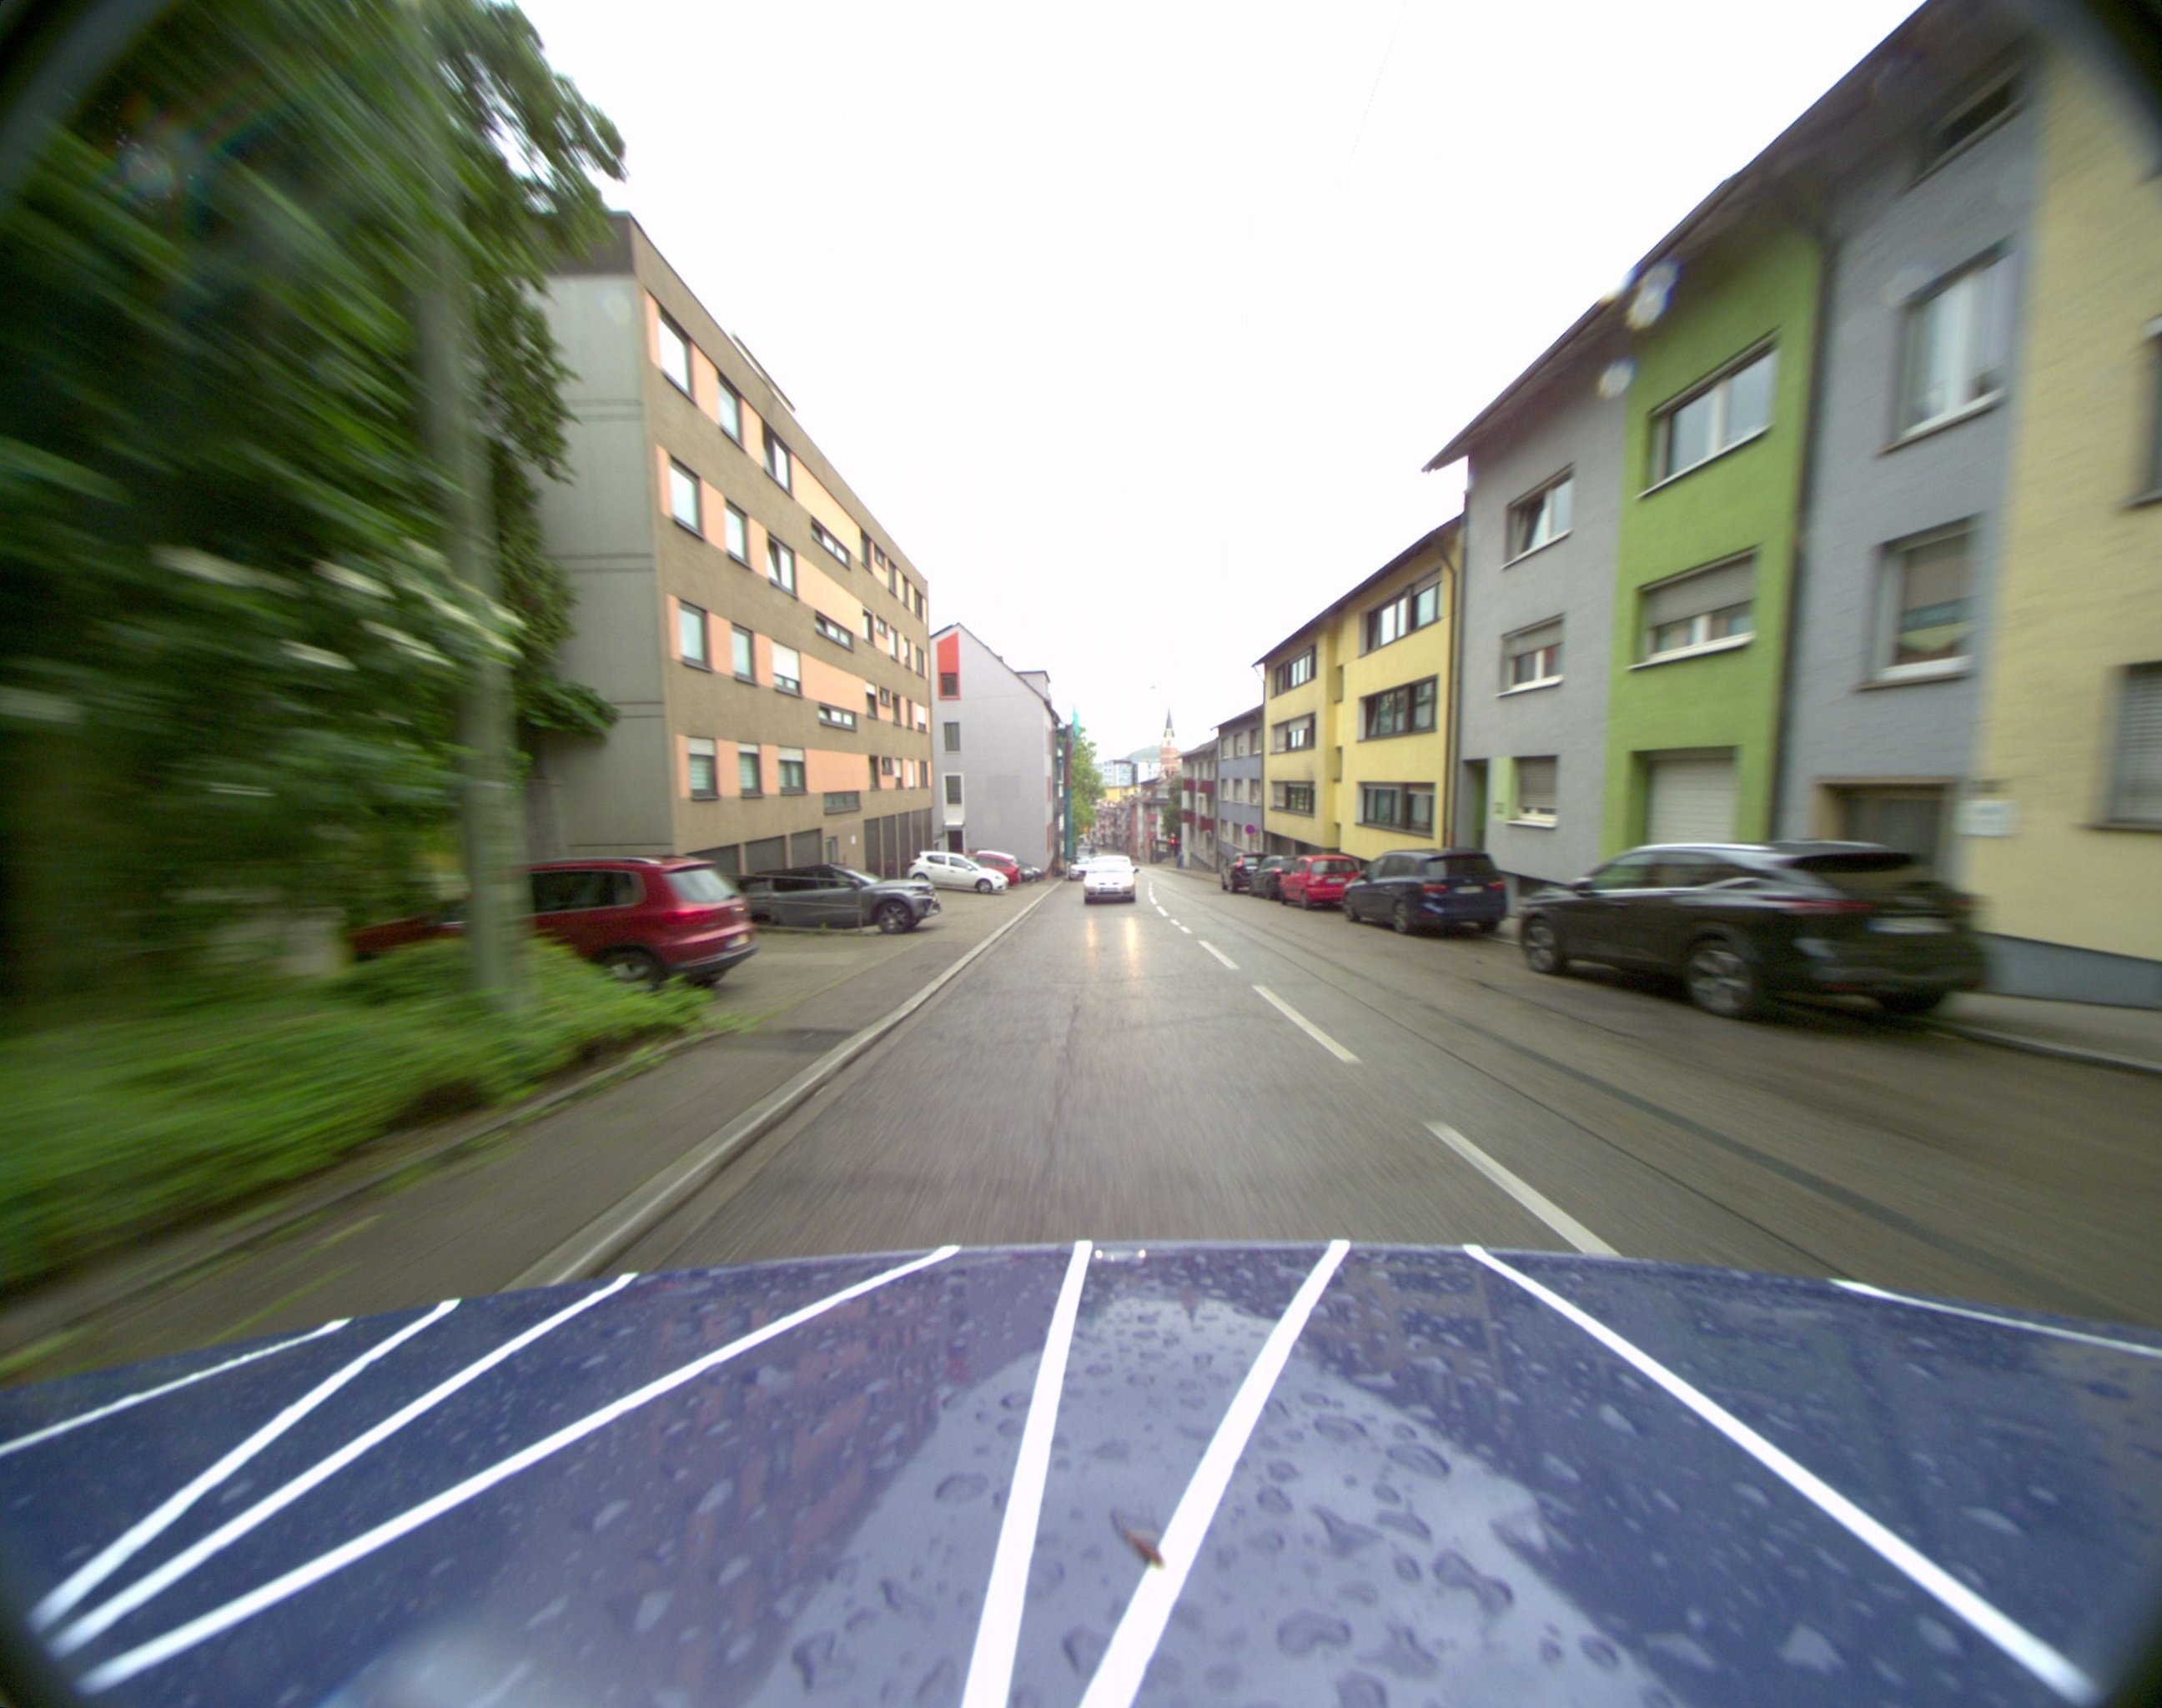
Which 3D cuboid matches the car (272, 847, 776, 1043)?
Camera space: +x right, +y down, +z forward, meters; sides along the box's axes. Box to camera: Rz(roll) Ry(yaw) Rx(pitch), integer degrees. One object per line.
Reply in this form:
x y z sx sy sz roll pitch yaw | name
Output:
-5.951 0.906 8.567 4.209 1.724 1.759 -3 1 -3 | car

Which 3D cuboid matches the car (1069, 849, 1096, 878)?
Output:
0.099 0.618 49.616 1.644 1.752 4.000 -2 0 0 | car

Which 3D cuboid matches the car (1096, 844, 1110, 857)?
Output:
2.859 -0.420 96.552 1.637 1.521 4.000 -2 0 3 | car

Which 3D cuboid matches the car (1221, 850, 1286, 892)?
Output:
7.216 0.681 32.194 1.998 1.640 4.442 -1 0 3 | car

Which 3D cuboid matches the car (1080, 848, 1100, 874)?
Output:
1.003 0.690 81.115 1.998 2.400 5.834 -2 2 1 | car

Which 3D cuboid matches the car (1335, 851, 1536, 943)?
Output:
6.914 0.752 15.449 1.998 1.576 4.471 -1 0 0 | car

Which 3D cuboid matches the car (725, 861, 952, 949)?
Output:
-5.036 1.035 16.208 4.209 1.487 1.760 -3 1 -1 | car

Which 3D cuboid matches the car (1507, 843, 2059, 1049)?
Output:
6.641 0.712 8.032 1.858 1.576 4.305 -1 0 0 | car

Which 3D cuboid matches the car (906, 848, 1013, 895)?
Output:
-4.855 0.683 30.752 3.972 1.521 1.692 5 0 -3 | car

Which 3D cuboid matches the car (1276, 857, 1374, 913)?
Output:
6.976 0.840 22.094 1.733 1.463 3.491 -1 0 0 | car

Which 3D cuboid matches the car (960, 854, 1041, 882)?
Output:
-4.412 0.775 41.969 4.279 1.458 1.893 0 0 0 | car

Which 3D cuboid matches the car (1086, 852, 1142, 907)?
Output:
1.060 0.794 26.012 1.720 1.528 3.998 -2 2 0 | car

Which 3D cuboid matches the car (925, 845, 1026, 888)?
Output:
-4.878 0.568 35.724 4.352 1.521 1.876 6 0 0 | car

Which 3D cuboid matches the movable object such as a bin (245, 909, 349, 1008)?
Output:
-9.222 1.216 8.956 0.508 1.055 0.603 -2 3 1 | movable object such as a bin

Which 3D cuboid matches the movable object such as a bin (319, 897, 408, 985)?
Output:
-9.456 1.130 10.038 0.508 1.055 0.603 -2 3 1 | movable object such as a bin

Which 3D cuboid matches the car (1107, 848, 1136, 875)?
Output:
2.615 0.460 49.881 1.720 1.528 3.998 -2 2 1 | car

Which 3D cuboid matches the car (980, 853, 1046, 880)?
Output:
-4.010 0.746 45.339 3.812 1.541 1.660 0 0 0 | car

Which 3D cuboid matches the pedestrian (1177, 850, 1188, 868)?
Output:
9.576 0.477 71.787 0.871 1.531 1.088 -2 -4 0 | pedestrian

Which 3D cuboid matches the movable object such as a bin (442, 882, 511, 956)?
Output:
-9.421 1.002 11.855 0.508 1.055 0.603 -2 3 1 | movable object such as a bin

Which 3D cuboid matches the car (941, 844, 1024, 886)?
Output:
-4.907 0.537 38.148 3.836 1.692 1.728 5 0 -1 | car

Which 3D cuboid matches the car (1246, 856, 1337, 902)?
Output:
7.349 0.820 26.972 1.998 1.463 4.348 -1 0 0 | car
